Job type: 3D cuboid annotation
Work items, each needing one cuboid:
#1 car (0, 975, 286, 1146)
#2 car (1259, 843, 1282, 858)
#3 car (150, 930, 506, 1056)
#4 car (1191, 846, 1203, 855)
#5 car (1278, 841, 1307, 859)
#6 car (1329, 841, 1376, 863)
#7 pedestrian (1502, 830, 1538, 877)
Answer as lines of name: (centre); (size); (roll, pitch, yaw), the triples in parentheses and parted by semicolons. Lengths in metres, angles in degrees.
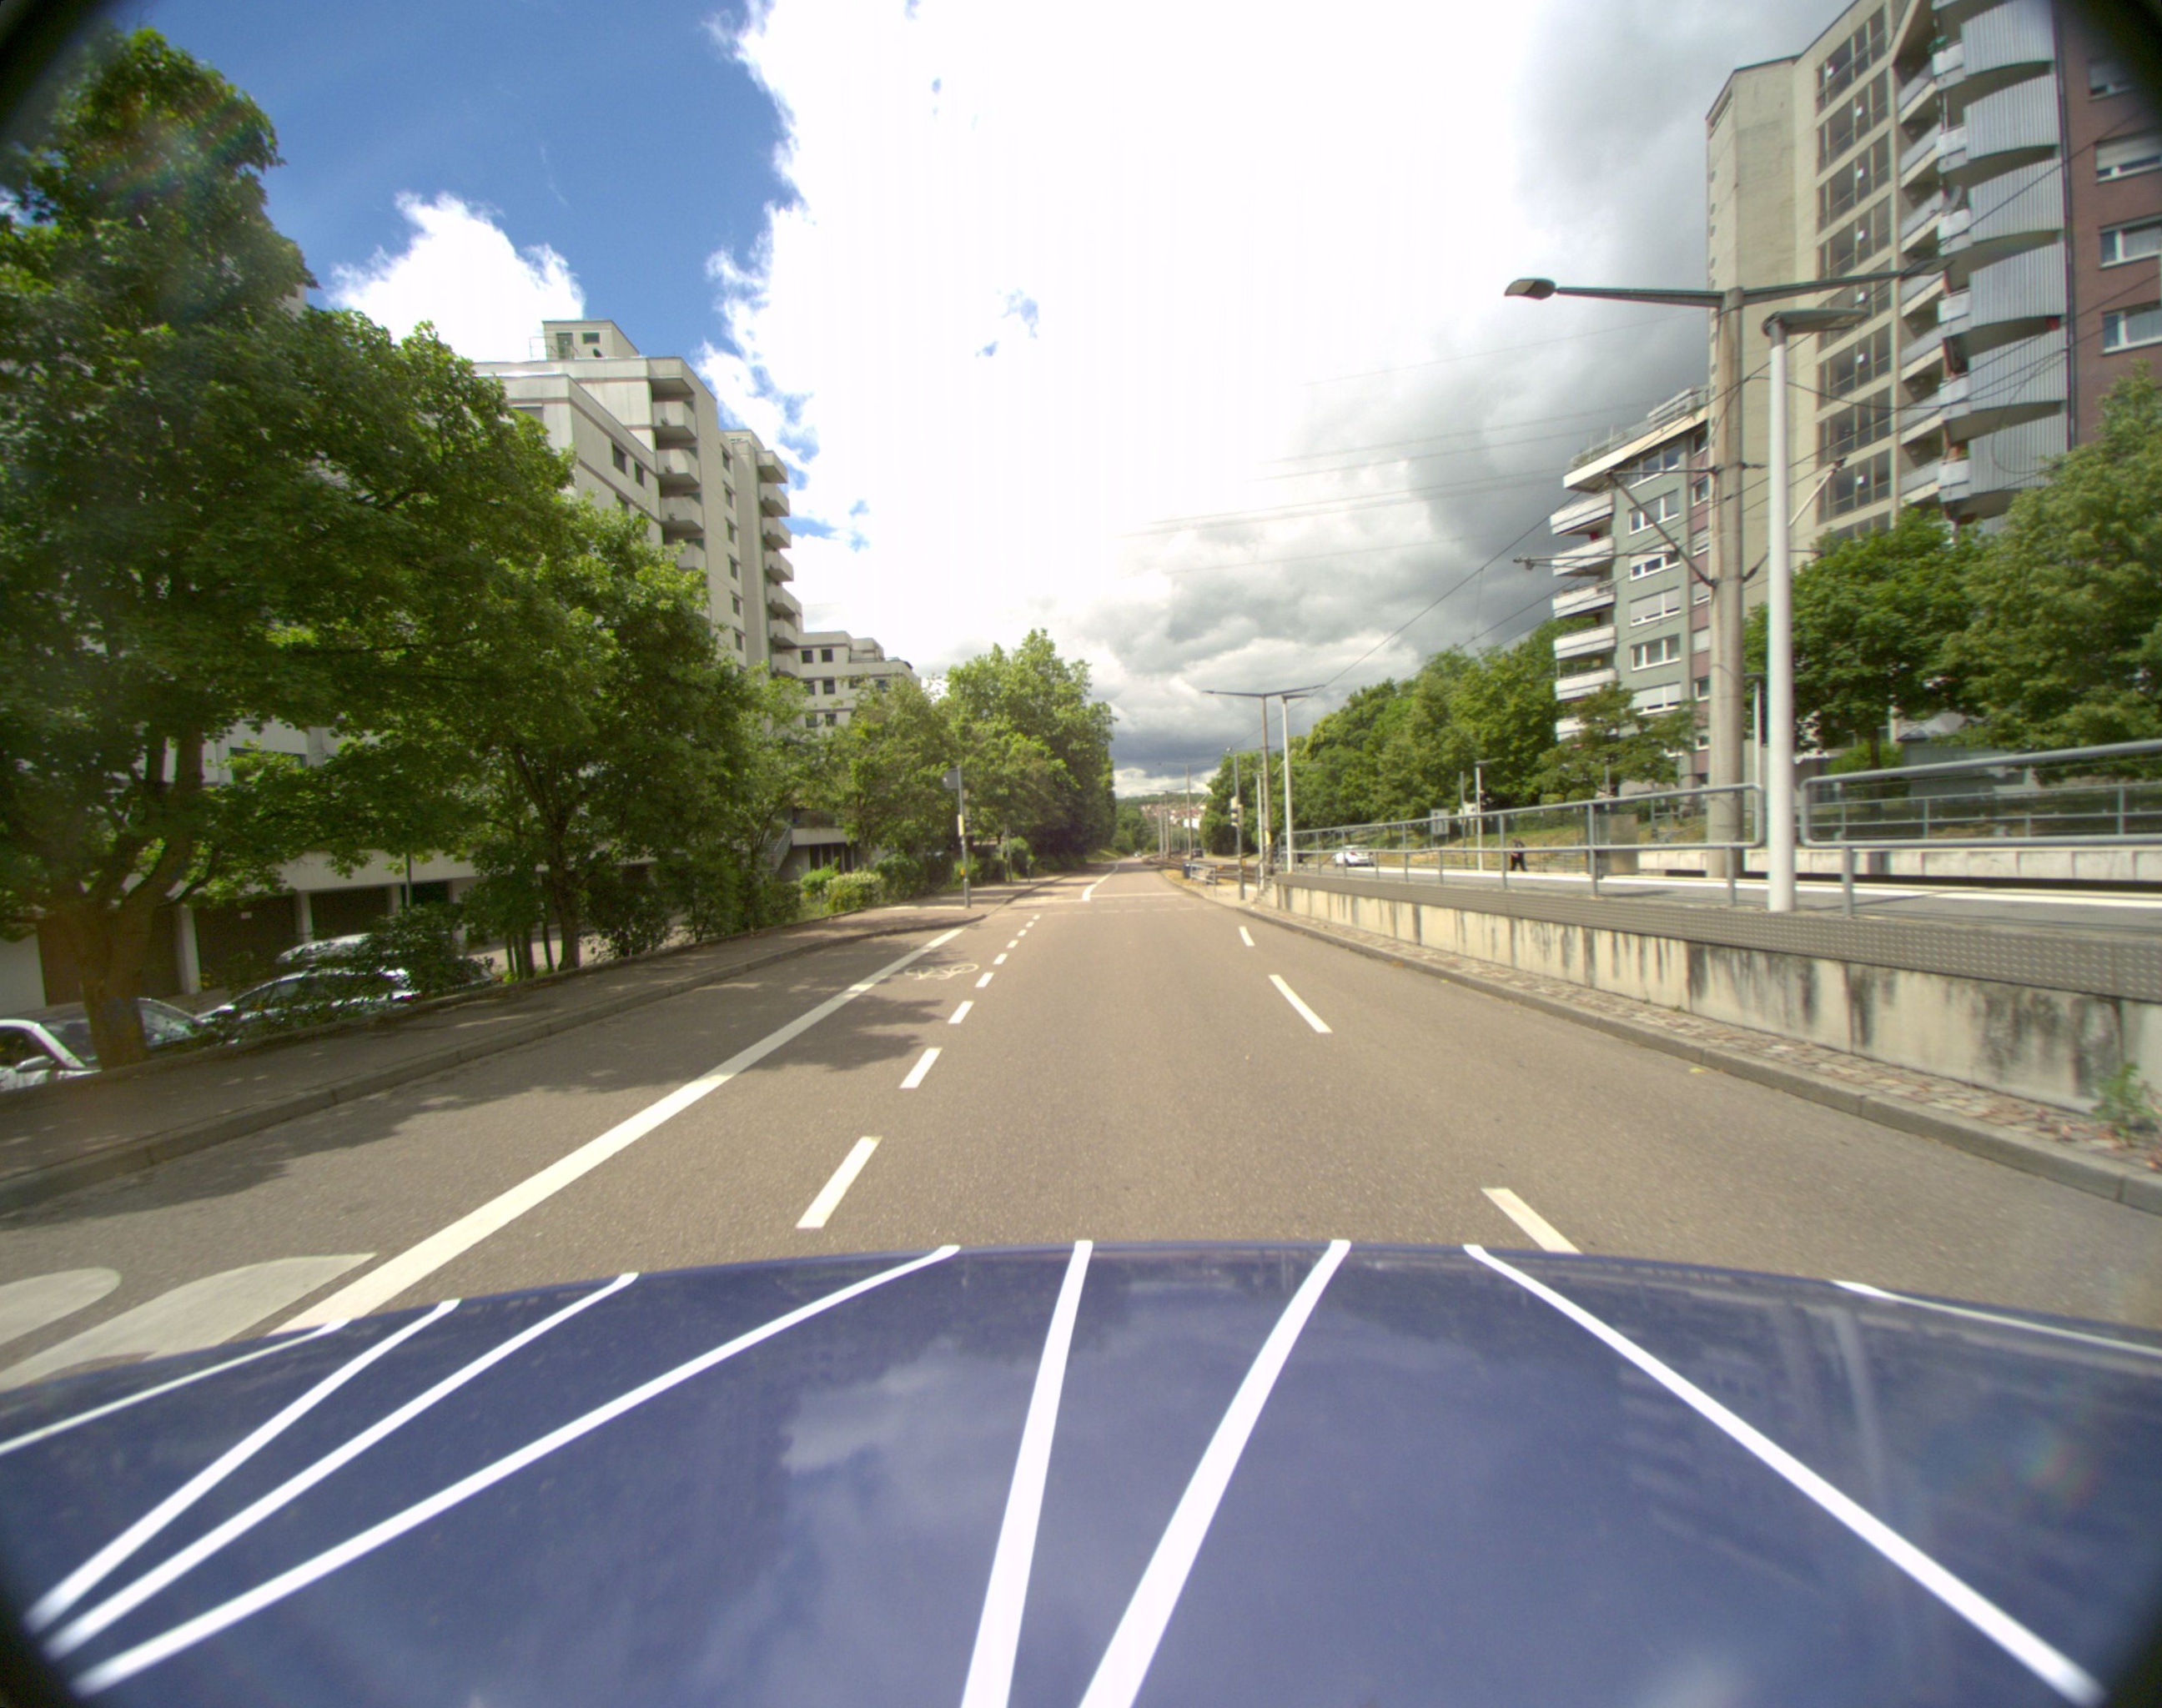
car: (-11.670, 2.342, 8.838); (2.964, 1.462, 1.723); (-3, 1, 2)
car: (19.286, -0.313, 77.430); (1.605, 1.431, 3.470); (-3, 0, 2)
car: (-11.216, 2.043, 11.500); (3.762, 1.424, 1.564); (-3, 2, 2)
car: (20.157, -0.585, 132.352); (1.658, 1.503, 3.737); (-2, 0, 2)
car: (19.209, -0.334, 69.107); (1.658, 1.503, 3.737); (-2, 0, 2)
car: (18.725, -0.134, 52.511); (1.659, 1.410, 3.999); (-2, 0, -2)
pedestrian: (14.955, -0.011, 25.924); (0.690, 1.554, 0.824); (-3, 1, 0)
